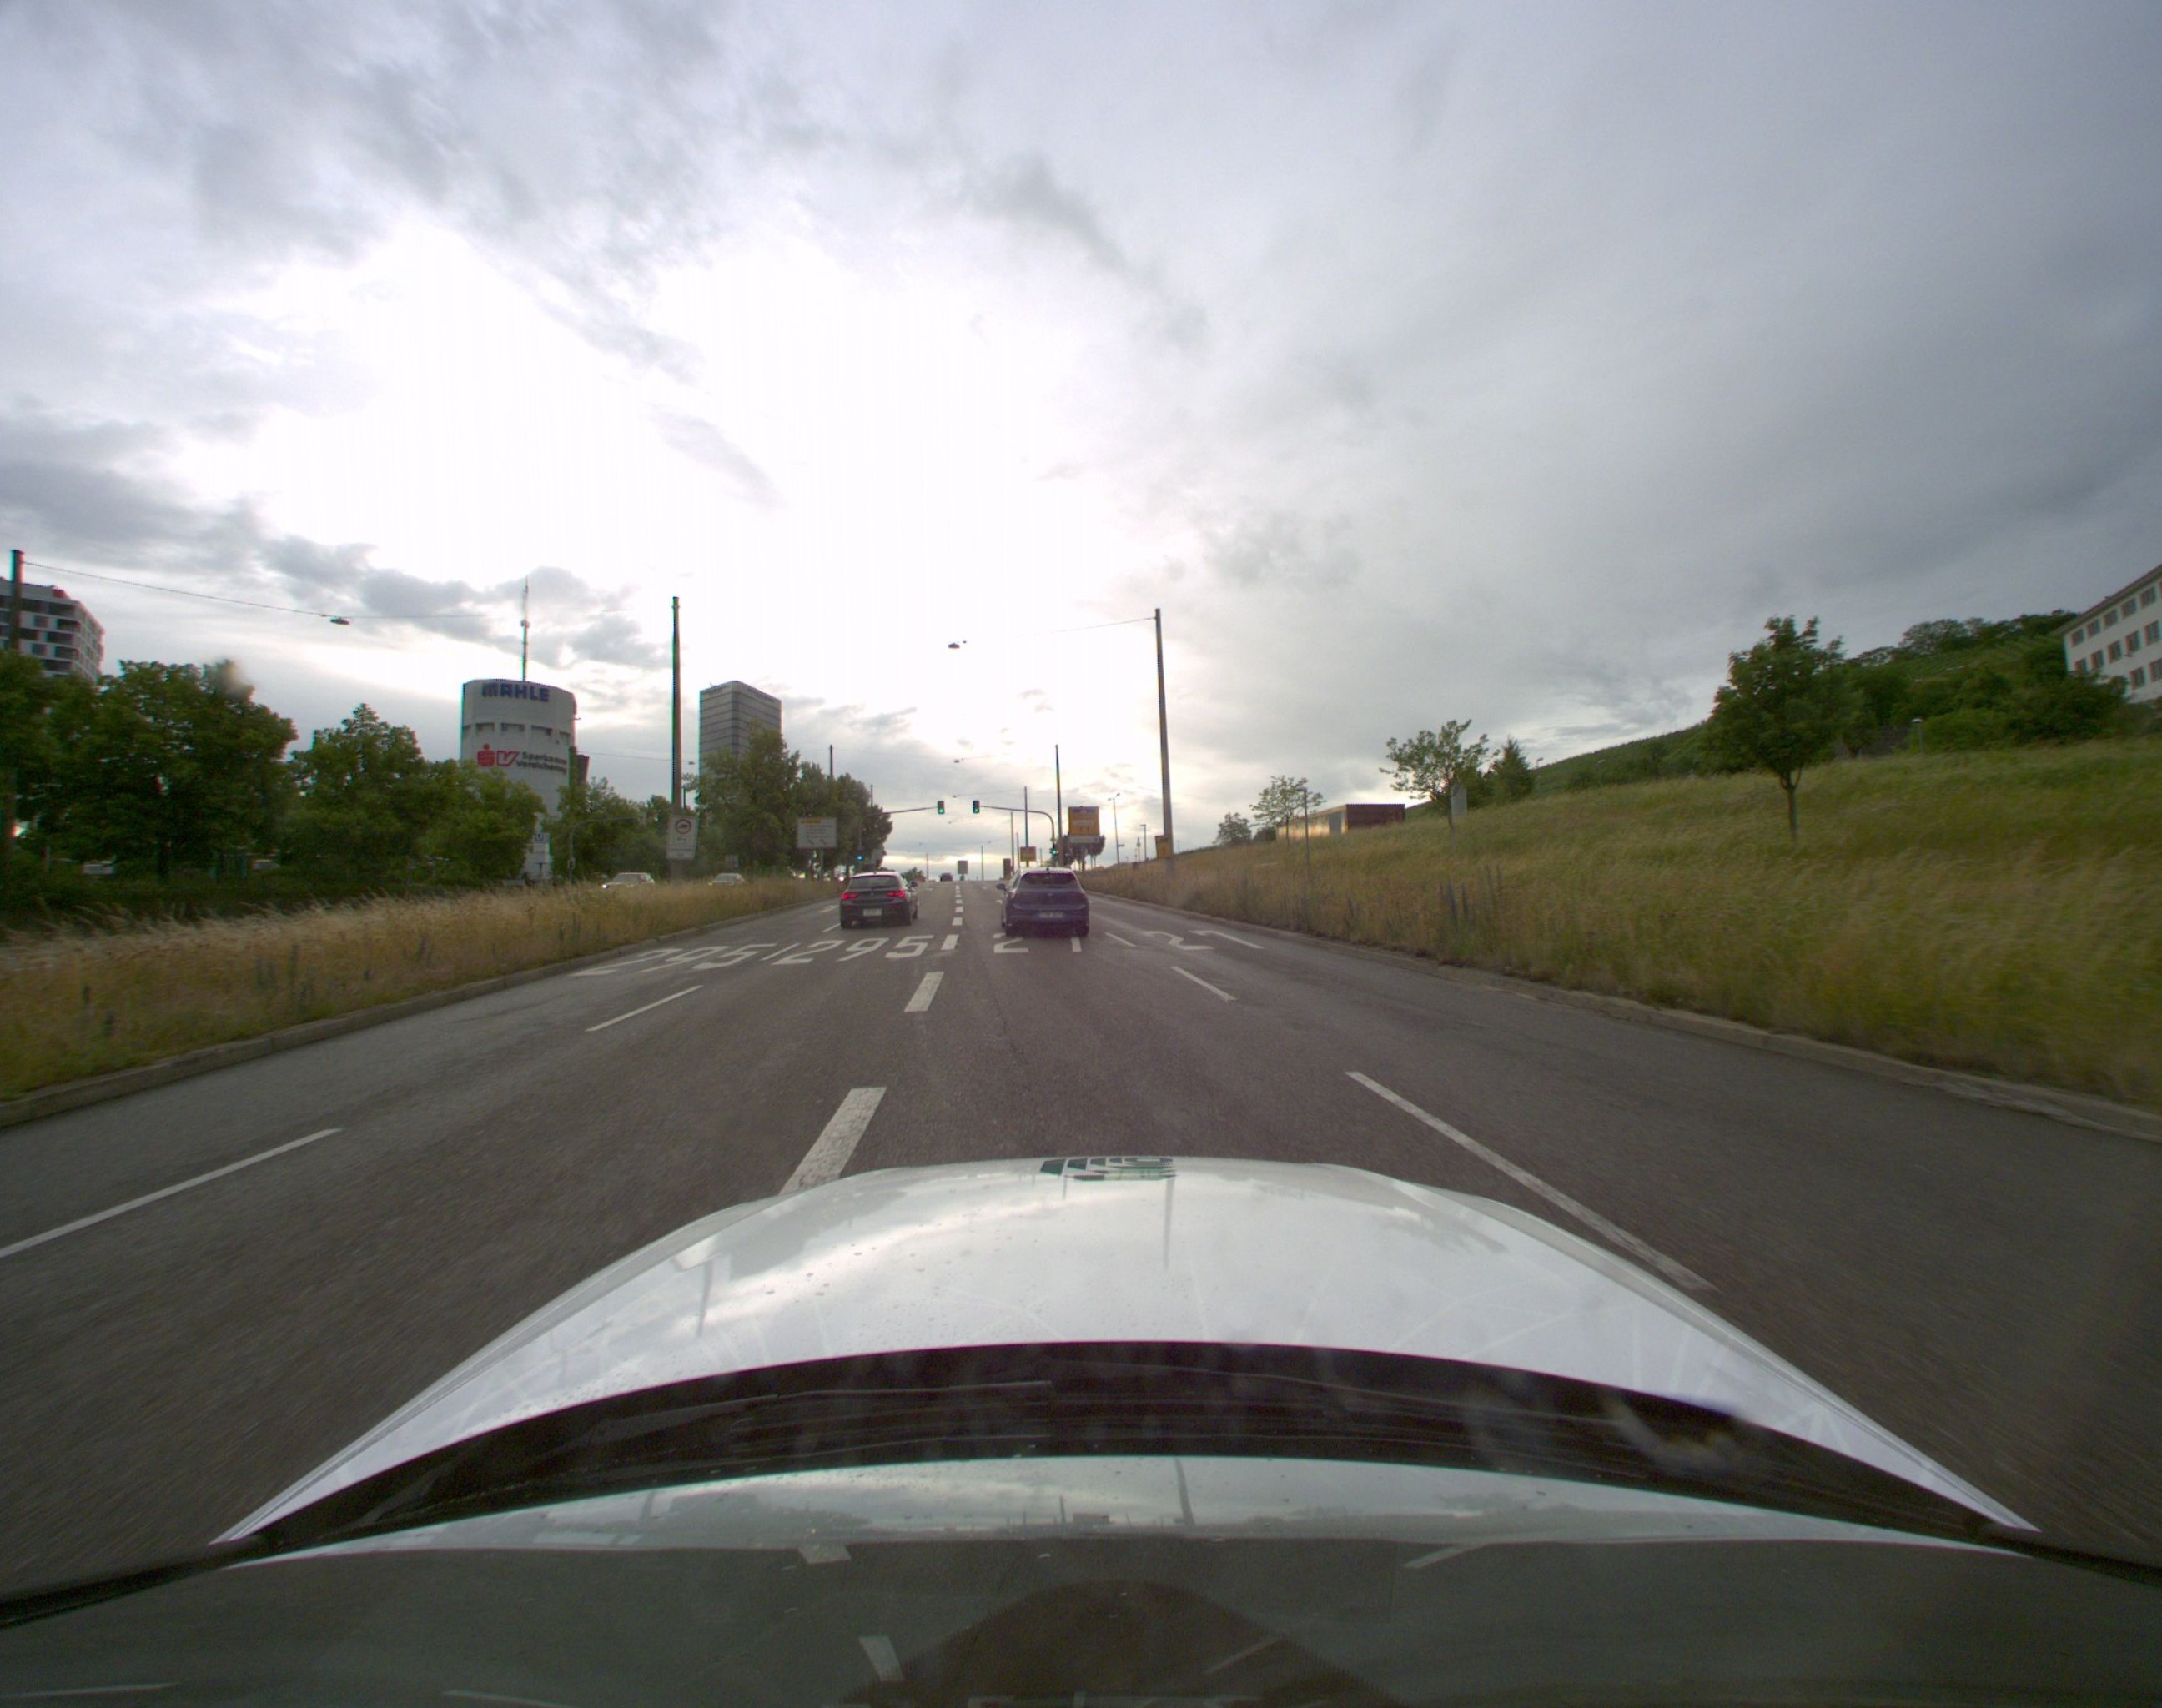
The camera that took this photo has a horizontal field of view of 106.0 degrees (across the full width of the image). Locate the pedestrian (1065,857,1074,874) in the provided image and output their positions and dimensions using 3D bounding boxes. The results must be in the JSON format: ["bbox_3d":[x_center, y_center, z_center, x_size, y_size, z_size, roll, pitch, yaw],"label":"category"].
[{"bbox_3d":[-1.100,1.096,77.383,0.634,1.571,0.890,-2,-1,-17],"label":"pedestrian"}]

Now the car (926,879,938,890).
[{"bbox_3d":[-30.837,6.375,168.724,1.908,1.973,5.062,-1,-4,-16],"label":"car"}]

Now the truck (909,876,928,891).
[{"bbox_3d":[-36.747,6.785,184.156,2.680,3.221,6.491,1,-4,-26],"label":"truck"}]

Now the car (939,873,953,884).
[{"bbox_3d":[-19.376,3.461,116.762,1.720,1.542,3.694,1,-1,-7],"label":"car"}]

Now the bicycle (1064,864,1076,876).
[{"bbox_3d":[-1.062,1.514,77.341,0.634,1.105,1.743,-2,-1,-17],"label":"bicycle"}]

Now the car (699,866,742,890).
[{"bbox_3d":[-25.848,1.667,58.551,1.995,1.639,4.002,0,-1,-12],"label":"car"}]

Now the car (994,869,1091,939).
[{"bbox_3d":[-0.984,1.041,18.420,1.837,1.394,3.988,0,-1,-8],"label":"car"}]

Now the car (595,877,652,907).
[{"bbox_3d":[-27.159,2.226,48.499,1.863,1.620,3.983,0,-1,-12],"label":"car"}]

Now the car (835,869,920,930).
[{"bbox_3d":[-5.413,1.162,22.093,1.869,1.461,3.963,-1,-1,-9],"label":"car"}]
